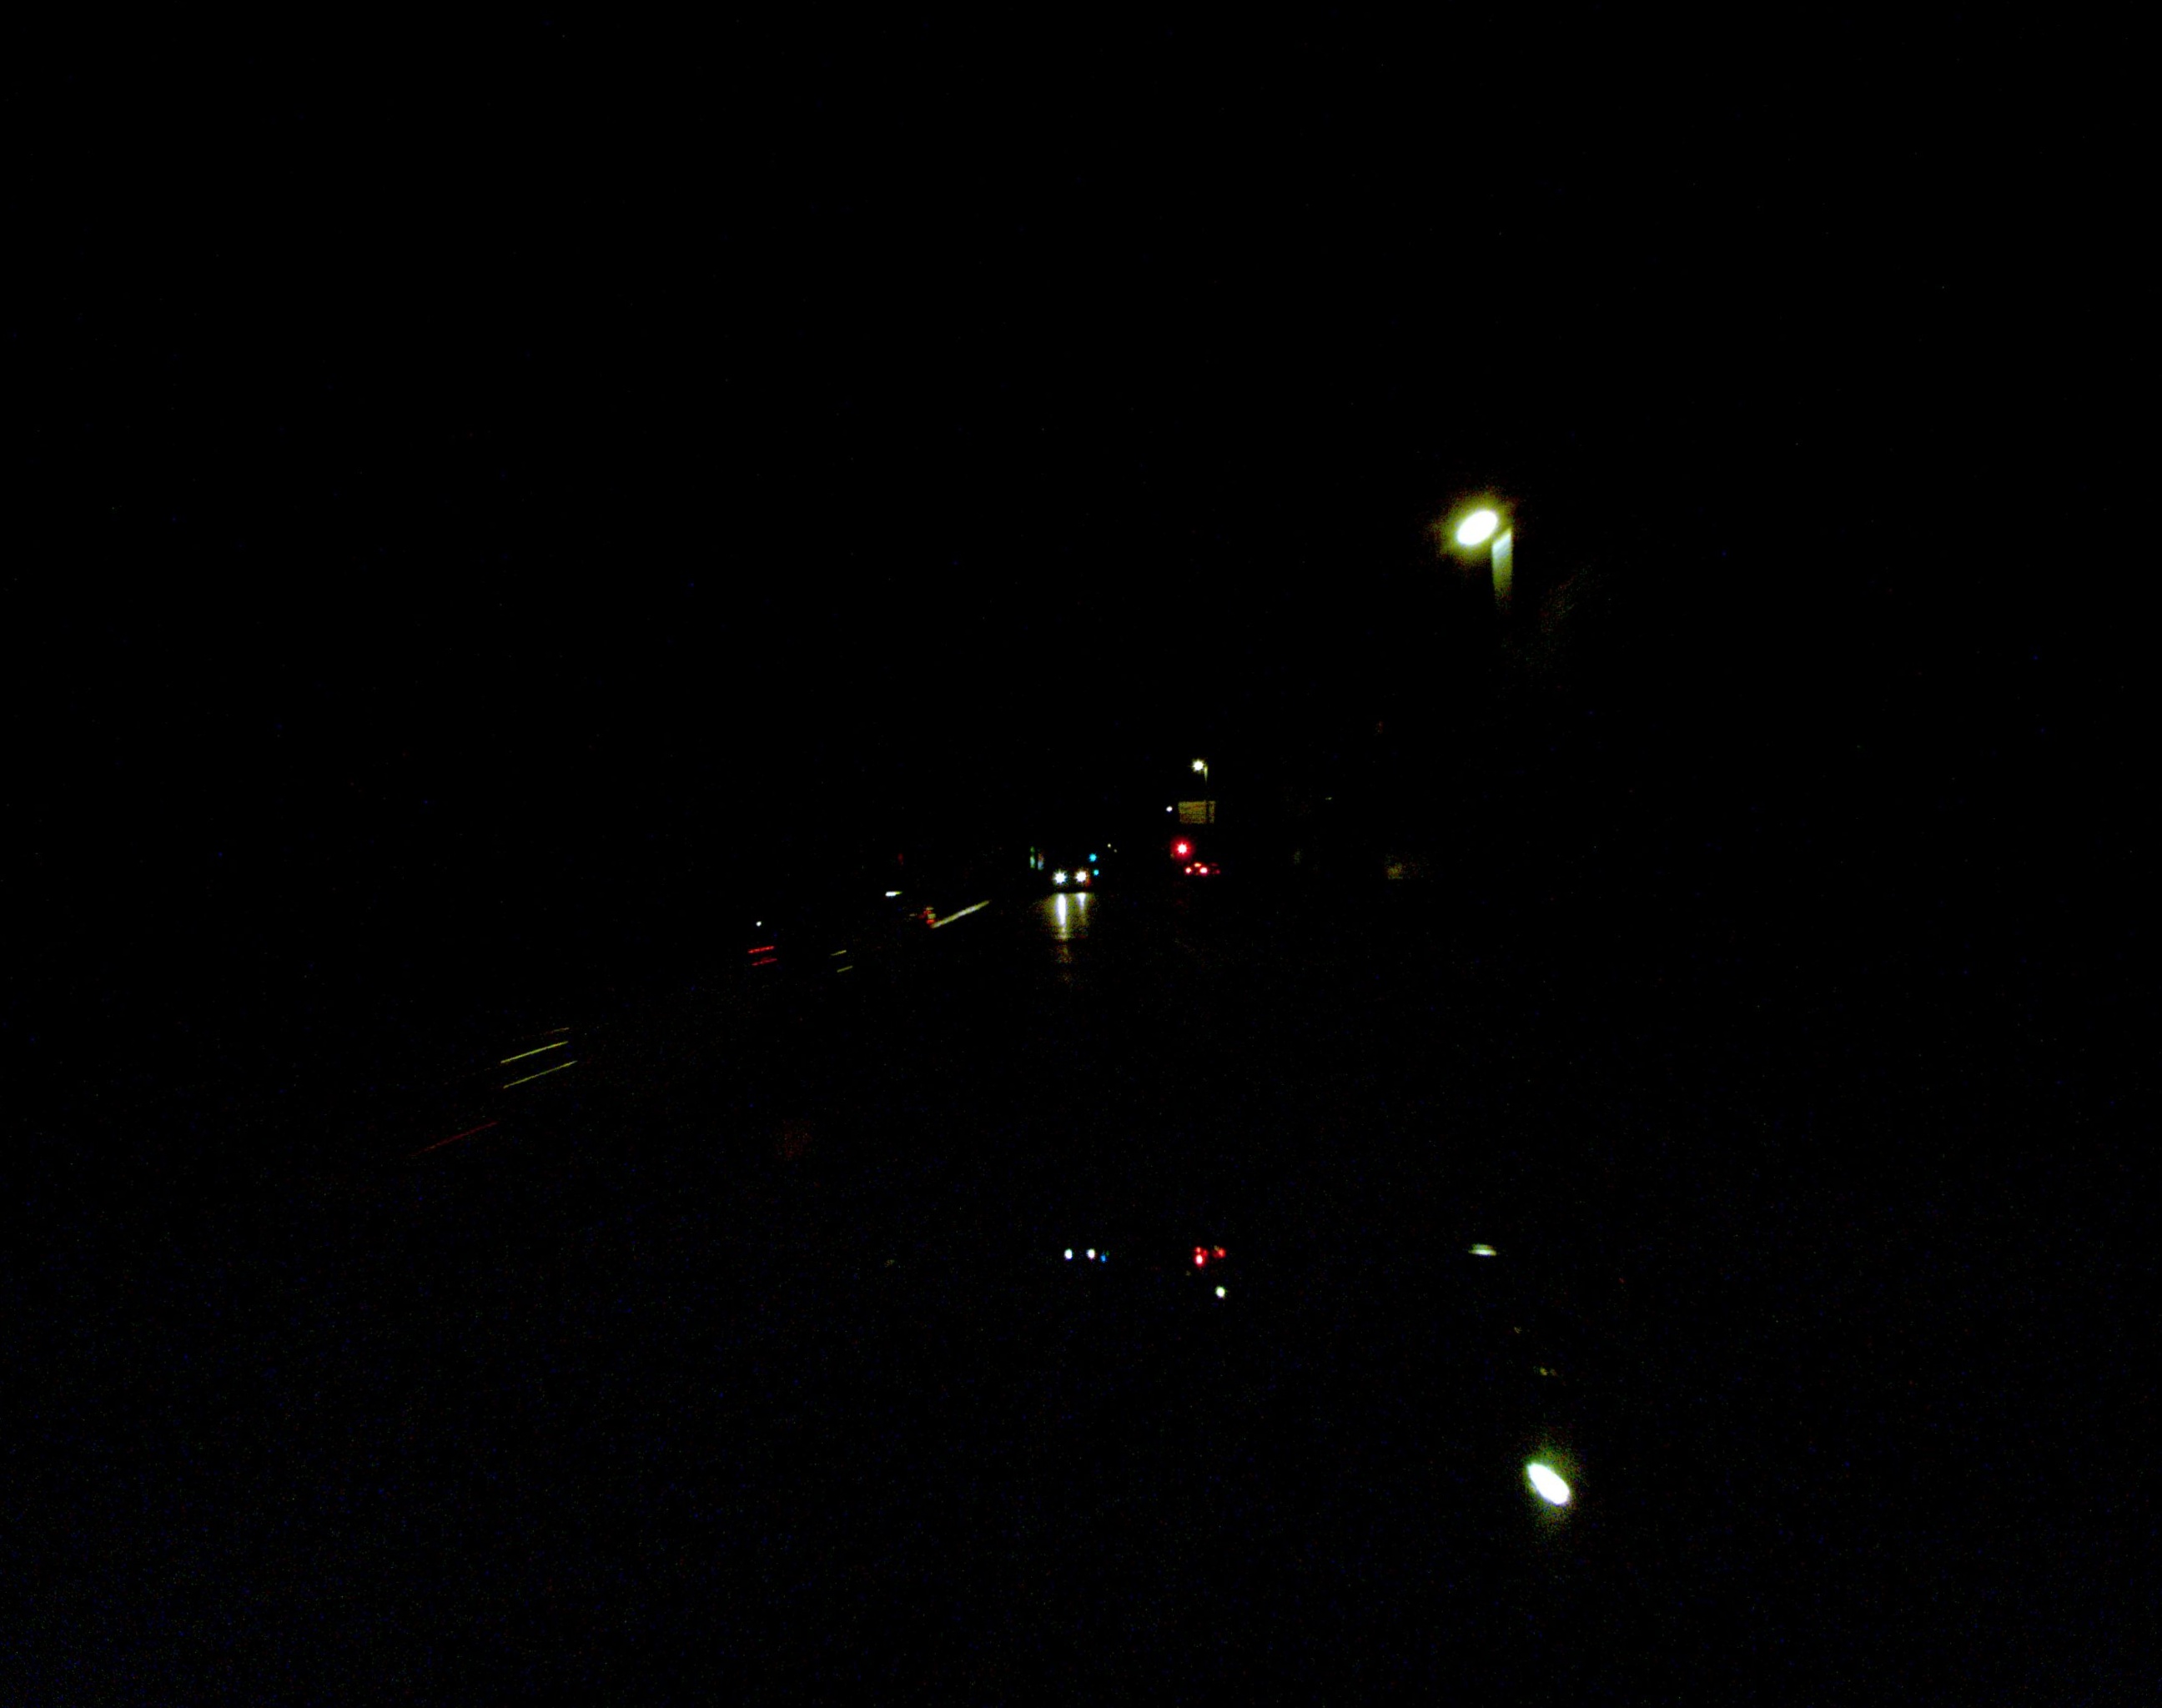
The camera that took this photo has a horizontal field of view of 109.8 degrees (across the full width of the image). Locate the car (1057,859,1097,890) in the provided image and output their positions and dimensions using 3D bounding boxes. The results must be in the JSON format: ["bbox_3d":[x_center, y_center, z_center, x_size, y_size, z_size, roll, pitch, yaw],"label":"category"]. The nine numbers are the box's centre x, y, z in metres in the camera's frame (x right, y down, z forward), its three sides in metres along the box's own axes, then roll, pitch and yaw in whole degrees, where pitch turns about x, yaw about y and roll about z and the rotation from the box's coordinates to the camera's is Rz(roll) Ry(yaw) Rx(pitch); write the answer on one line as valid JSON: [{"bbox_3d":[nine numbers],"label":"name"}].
[{"bbox_3d":[-0.166,1.049,39.361,1.512,1.492,3.052,-2,0,9],"label":"car"}]

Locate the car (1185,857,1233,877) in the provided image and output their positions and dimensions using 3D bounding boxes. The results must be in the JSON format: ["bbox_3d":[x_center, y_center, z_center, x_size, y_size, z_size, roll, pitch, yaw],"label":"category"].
[{"bbox_3d":[9.623,0.995,57.101,1.726,1.421,4.299,-1,-1,38],"label":"car"}]

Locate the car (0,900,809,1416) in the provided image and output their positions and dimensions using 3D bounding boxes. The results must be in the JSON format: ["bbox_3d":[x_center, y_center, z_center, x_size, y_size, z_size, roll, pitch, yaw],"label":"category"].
[{"bbox_3d":[-3.006,1.063,4.242,1.613,1.452,3.717,0,-1,0],"label":"car"}]

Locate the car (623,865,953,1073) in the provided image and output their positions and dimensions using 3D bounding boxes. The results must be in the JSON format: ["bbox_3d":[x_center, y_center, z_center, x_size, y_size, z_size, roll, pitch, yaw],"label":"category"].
[{"bbox_3d":[-2.865,1.008,8.749,1.759,1.584,4.728,-3,0,2],"label":"car"}]
